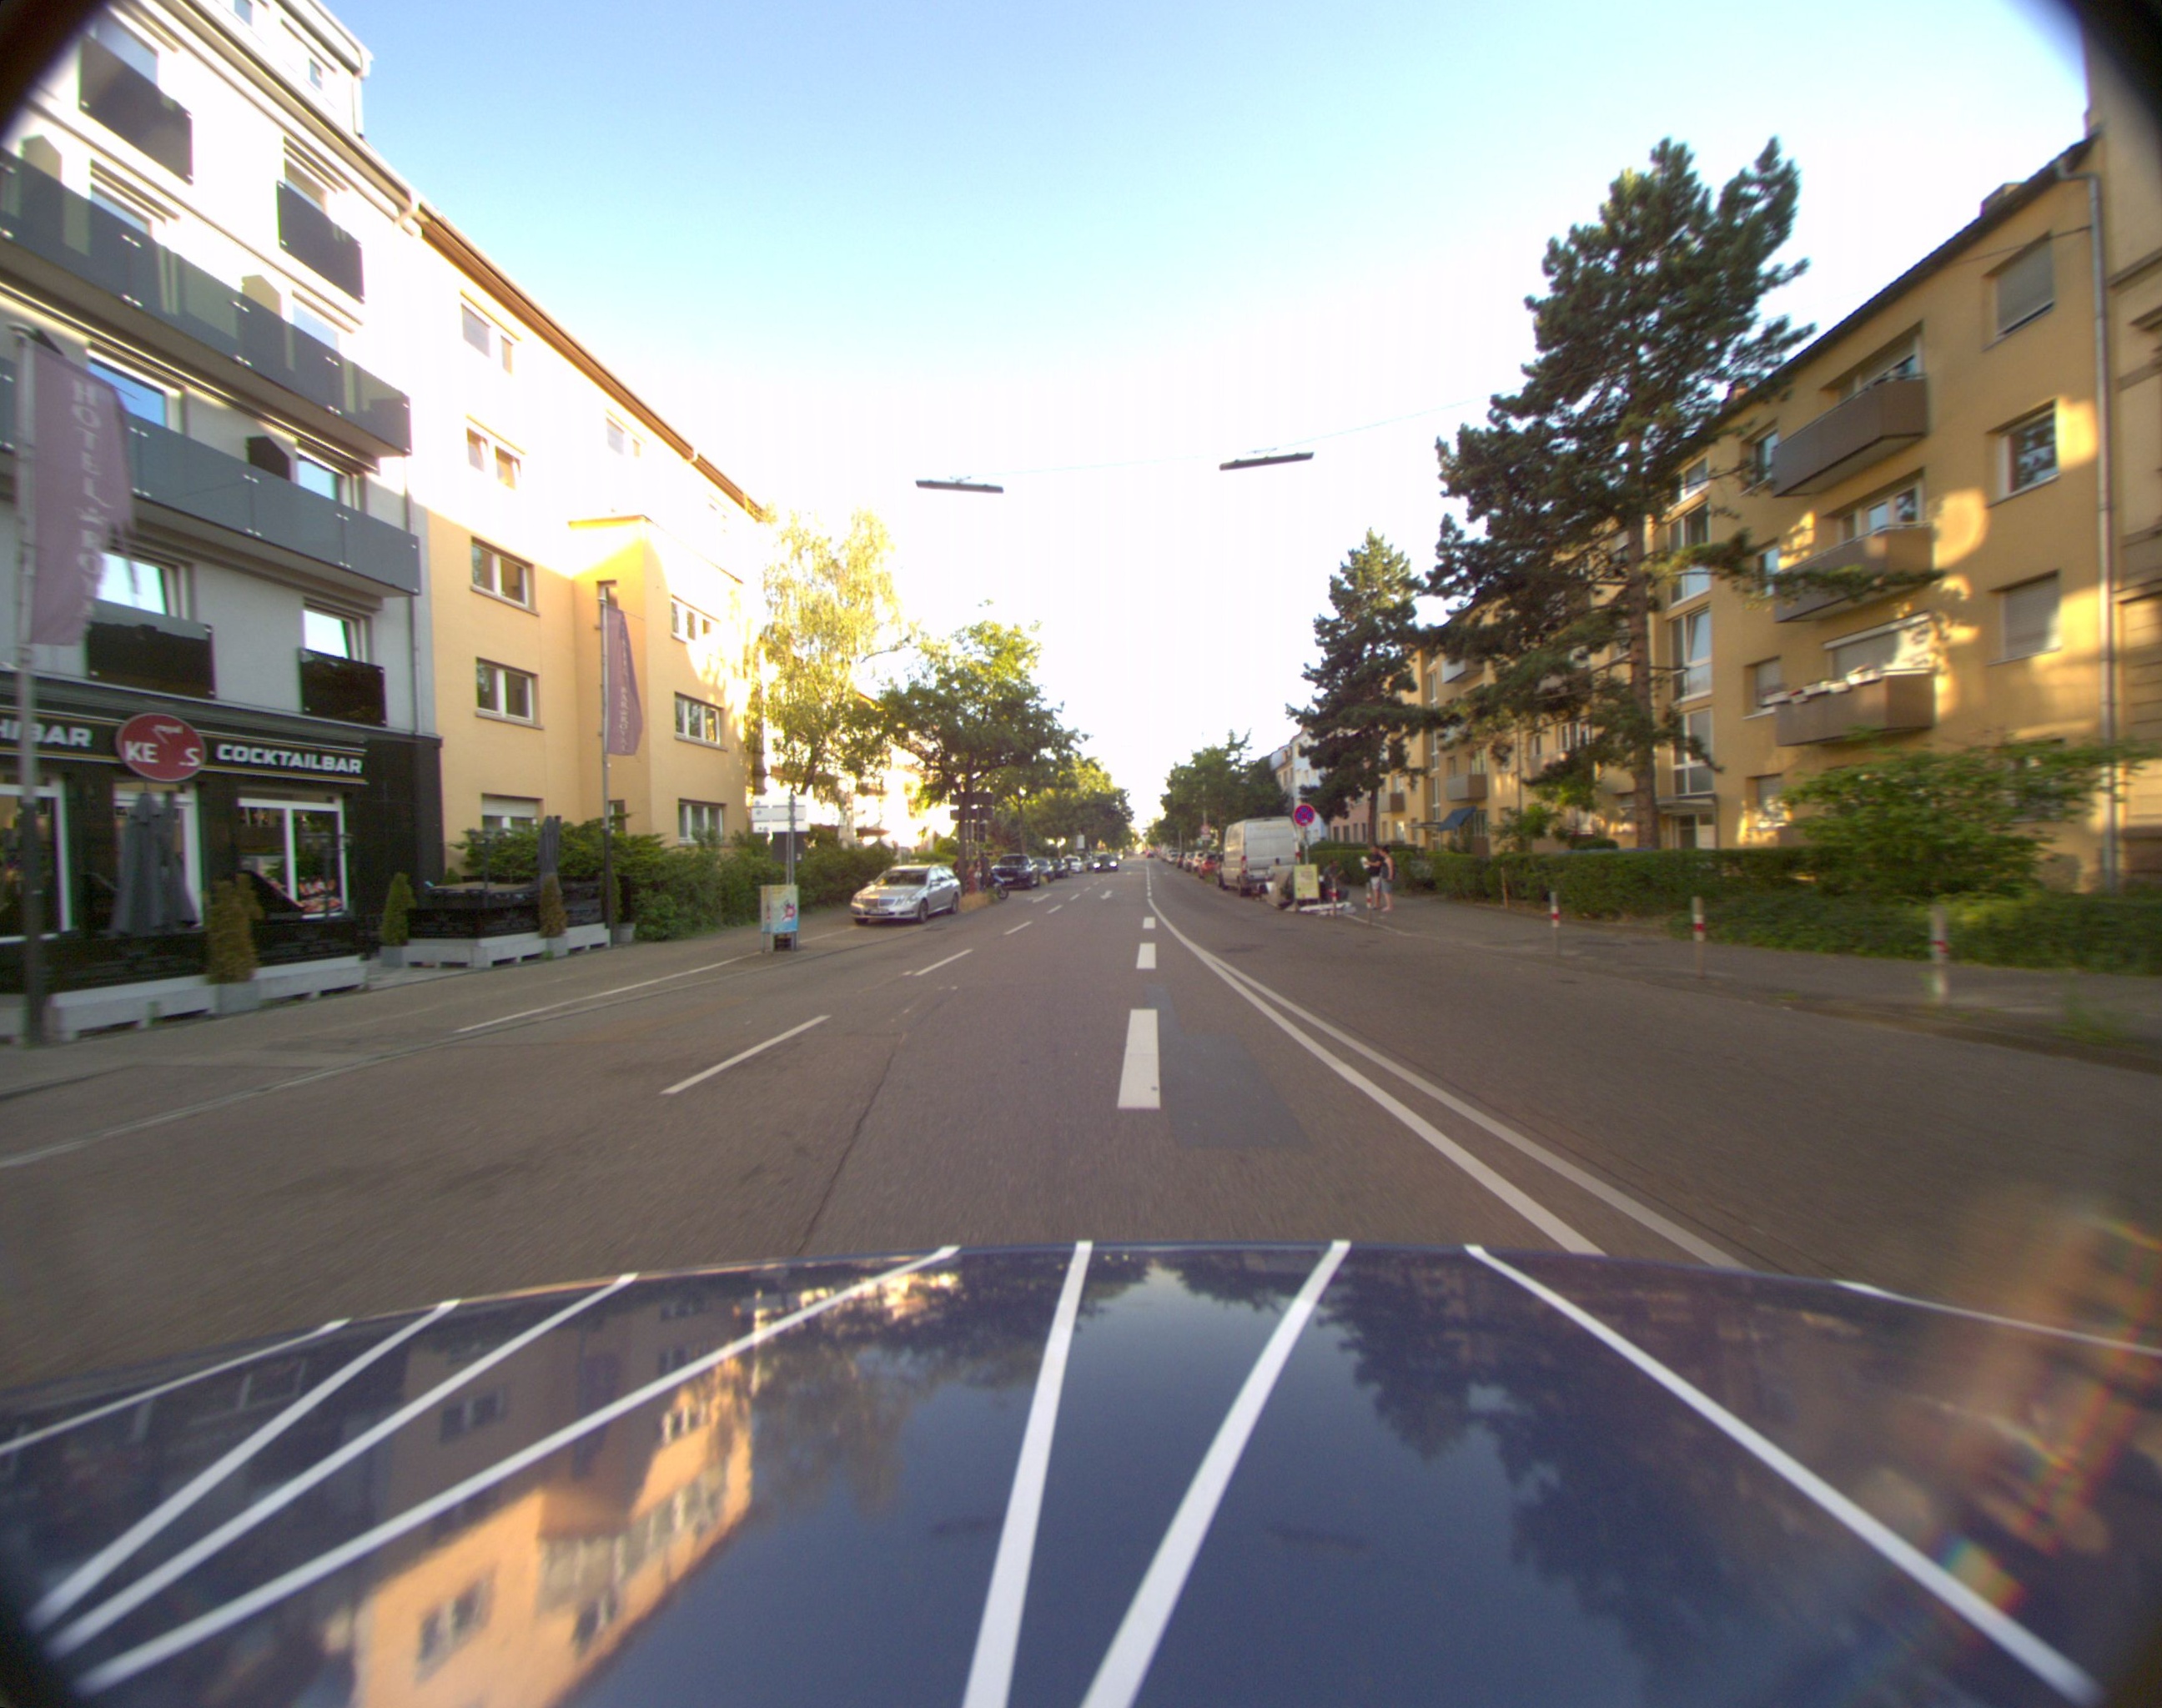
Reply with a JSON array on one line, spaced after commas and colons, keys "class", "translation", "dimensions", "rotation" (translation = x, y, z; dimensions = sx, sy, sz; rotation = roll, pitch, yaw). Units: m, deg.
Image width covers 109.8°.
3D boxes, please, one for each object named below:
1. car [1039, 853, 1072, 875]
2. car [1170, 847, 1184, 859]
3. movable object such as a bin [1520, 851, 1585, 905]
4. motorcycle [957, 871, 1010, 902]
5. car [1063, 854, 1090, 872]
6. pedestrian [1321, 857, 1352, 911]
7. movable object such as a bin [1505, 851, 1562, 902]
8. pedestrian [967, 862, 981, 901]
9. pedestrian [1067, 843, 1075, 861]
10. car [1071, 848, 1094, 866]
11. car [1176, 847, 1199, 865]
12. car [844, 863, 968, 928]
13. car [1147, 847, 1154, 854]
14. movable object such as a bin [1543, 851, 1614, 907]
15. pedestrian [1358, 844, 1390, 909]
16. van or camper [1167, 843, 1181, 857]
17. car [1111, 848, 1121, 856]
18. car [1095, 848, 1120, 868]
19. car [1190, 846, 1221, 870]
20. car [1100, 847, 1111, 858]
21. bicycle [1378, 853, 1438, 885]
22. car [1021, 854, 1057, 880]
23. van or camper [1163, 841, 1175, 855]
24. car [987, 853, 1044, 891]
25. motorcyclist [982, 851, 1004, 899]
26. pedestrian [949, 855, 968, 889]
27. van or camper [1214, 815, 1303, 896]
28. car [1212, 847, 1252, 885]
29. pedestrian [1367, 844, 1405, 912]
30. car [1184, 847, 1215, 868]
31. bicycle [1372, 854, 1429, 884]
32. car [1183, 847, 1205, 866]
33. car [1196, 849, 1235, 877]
[{"class": "car", "translation": [-1.737, 0.668, 52.898], "dimensions": [1.774, 1.440, 4.485], "rotation": [-1, 1, 5]}, {"class": "car", "translation": [12.532, -0.095, 99.691], "dimensions": [1.683, 1.434, 3.883], "rotation": [-3, 0, 7]}, {"class": "movable object such as a bin", "translation": [10.084, 0.503, 16.278], "dimensions": [0.869, 1.044, 0.769], "rotation": [-5, 1, 4]}, {"class": "motorcycle", "translation": [-3.682, 1.222, 28.893], "dimensions": [1.931, 1.065, 0.820], "rotation": [-2, 1, -7]}, {"class": "car", "translation": [-0.344, 0.713, 63.663], "dimensions": [1.765, 1.394, 4.335], "rotation": [-1, 1, 5]}, {"class": "pedestrian", "translation": [6.728, 0.790, 20.014], "dimensions": [0.560, 1.370, 0.480], "rotation": [-4, 1, 0]}, {"class": "movable object such as a bin", "translation": [10.113, 0.495, 17.001], "dimensions": [0.869, 1.044, 0.582], "rotation": [-5, 1, 4]}, {"class": "pedestrian", "translation": [-4.032, 1.014, 28.559], "dimensions": [0.439, 1.422, 0.704], "rotation": [-2, 1, -6]}, {"class": "pedestrian", "translation": [-1.041, -0.221, 80.416], "dimensions": [0.669, 1.773, 0.764], "rotation": [-5, 3, 5]}, {"class": "car", "translation": [0.206, 0.245, 73.987], "dimensions": [1.920, 1.672, 4.708], "rotation": [0, 1, 4]}, {"class": "car", "translation": [9.972, 0.143, 71.429], "dimensions": [1.841, 1.508, 4.317], "rotation": [-3, 0, 6]}, {"class": "car", "translation": [-4.742, 1.063, 21.379], "dimensions": [1.859, 1.503, 4.836], "rotation": [-1, 1, 7]}, {"class": "car", "translation": [17.657, -0.915, 193.017], "dimensions": [1.698, 1.570, 3.832], "rotation": [-3, 0, 3]}, {"class": "movable object such as a bin", "translation": [10.071, 0.496, 15.405], "dimensions": [0.869, 1.044, 0.769], "rotation": [-5, 1, 4]}, {"class": "pedestrian", "translation": [7.560, 0.570, 19.646], "dimensions": [0.481, 1.642, 0.725], "rotation": [-2, 1, -1]}, {"class": "van or camper", "translation": [14.061, -0.552, 114.926], "dimensions": [1.808, 2.002, 4.865], "rotation": [-3, 0, 4]}, {"class": "car", "translation": [6.939, -0.400, 151.388], "dimensions": [1.797, 1.558, 3.673], "rotation": [-1, 1, 5]}, {"class": "car", "translation": [2.294, 0.317, 65.306], "dimensions": [1.998, 1.525, 4.001], "rotation": [-2, 0, 4]}, {"class": "car", "translation": [8.821, 0.275, 54.062], "dimensions": [1.780, 1.579, 4.187], "rotation": [-3, 0, 5]}, {"class": "car", "translation": [4.149, -0.229, 126.104], "dimensions": [1.797, 1.761, 4.000], "rotation": [-1, 1, 2]}, {"class": "bicycle", "translation": [11.290, 0.518, 26.284], "dimensions": [1.789, 0.976, 0.590], "rotation": [-3, 1, 6]}, {"class": "car", "translation": [-2.487, 0.750, 46.131], "dimensions": [1.720, 1.464, 4.432], "rotation": [-1, 0, 3]}, {"class": "van or camper", "translation": [15.883, -1.088, 137.461], "dimensions": [1.917, 2.528, 5.336], "rotation": [-2, 1, 5]}, {"class": "car", "translation": [-3.114, 0.806, 37.031], "dimensions": [1.952, 1.645, 4.797], "rotation": [-2, 1, 4]}, {"class": "motorcyclist", "translation": [-3.337, 0.770, 28.875], "dimensions": [0.738, 1.768, 1.087], "rotation": [-2, 1, -6]}, {"class": "pedestrian", "translation": [-6.025, 0.875, 37.479], "dimensions": [0.748, 1.606, 0.580], "rotation": [-2, 1, 3]}, {"class": "van or camper", "translation": [6.600, 0.024, 28.957], "dimensions": [2.040, 2.648, 6.016], "rotation": [-4, 1, 2]}, {"class": "car", "translation": [6.672, 0.502, 33.792], "dimensions": [1.406, 1.539, 2.763], "rotation": [-4, 0, 7]}, {"class": "pedestrian", "translation": [7.575, 0.594, 18.896], "dimensions": [0.606, 1.642, 0.697], "rotation": [-2, 1, -1]}, {"class": "car", "translation": [9.172, 0.247, 59.046], "dimensions": [1.998, 1.439, 4.459], "rotation": [-2, 1, 4]}, {"class": "bicycle", "translation": [11.355, 0.540, 27.035], "dimensions": [1.762, 0.976, 0.590], "rotation": [-3, 1, 6]}, {"class": "car", "translation": [9.801, 0.202, 66.289], "dimensions": [1.594, 1.483, 3.642], "rotation": [-3, 1, 4]}, {"class": "car", "translation": [7.544, 0.475, 42.938], "dimensions": [1.720, 1.443, 3.924], "rotation": [-3, 0, 5]}]
